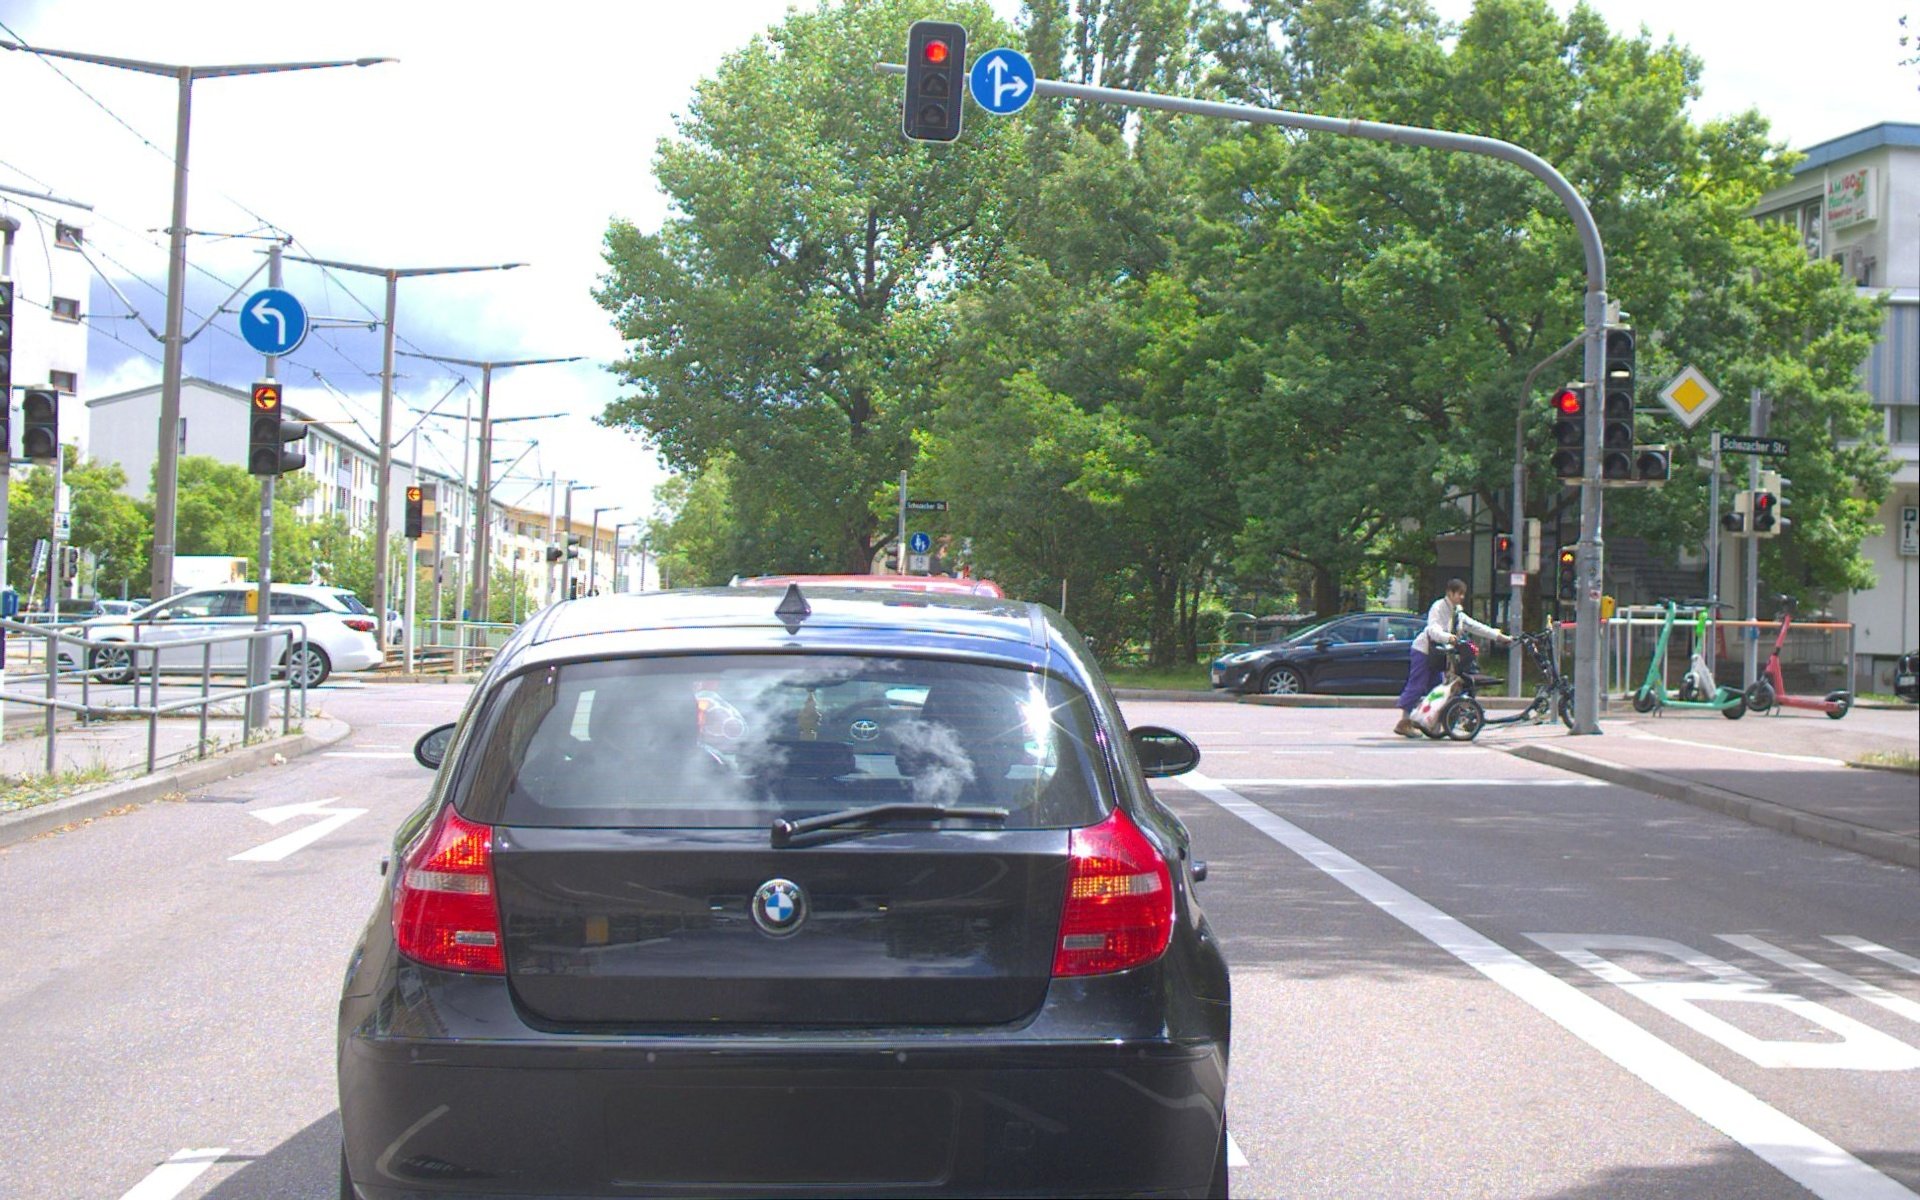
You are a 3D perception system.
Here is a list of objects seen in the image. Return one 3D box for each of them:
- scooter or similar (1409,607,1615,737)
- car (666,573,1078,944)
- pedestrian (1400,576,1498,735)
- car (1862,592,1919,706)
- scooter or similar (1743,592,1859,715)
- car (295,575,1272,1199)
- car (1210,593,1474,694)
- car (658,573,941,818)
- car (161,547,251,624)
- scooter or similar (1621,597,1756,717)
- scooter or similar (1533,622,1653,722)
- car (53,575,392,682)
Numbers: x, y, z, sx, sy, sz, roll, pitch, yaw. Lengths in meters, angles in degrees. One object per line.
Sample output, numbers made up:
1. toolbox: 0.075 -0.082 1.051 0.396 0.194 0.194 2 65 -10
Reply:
1. scooter or similar: 5.026 0.646 31.290 1.780 1.047 0.410 -4 2 -14
2. car: -0.341 0.606 15.199 1.594 1.414 3.517 1 1 0
3. pedestrian: 4.494 0.502 31.633 0.865 1.438 0.798 1 0 8
4. car: 15.090 0.710 49.694 3.576 1.595 1.712 1 0 -12
5. scooter or similar: 8.630 0.547 35.286 1.106 1.253 0.332 0 0 -12
6. car: -0.269 0.671 7.618 1.654 1.414 3.517 1 1 1
7. car: 5.684 0.641 51.294 3.603 1.457 1.617 0 1 -8
8. car: -1.015 0.554 22.092 1.654 1.414 3.517 1 1 -2
9. car: -26.695 -0.522 121.817 2.139 2.631 5.359 1 1 -2
10. scooter or similar: 7.305 0.566 34.477 1.287 1.185 0.385 0 0 -16
11. scooter or similar: 6.107 0.695 33.173 1.119 0.954 0.300 0 0 -16
12. car: -10.508 0.402 49.278 4.638 1.475 2.001 0 1 -9
